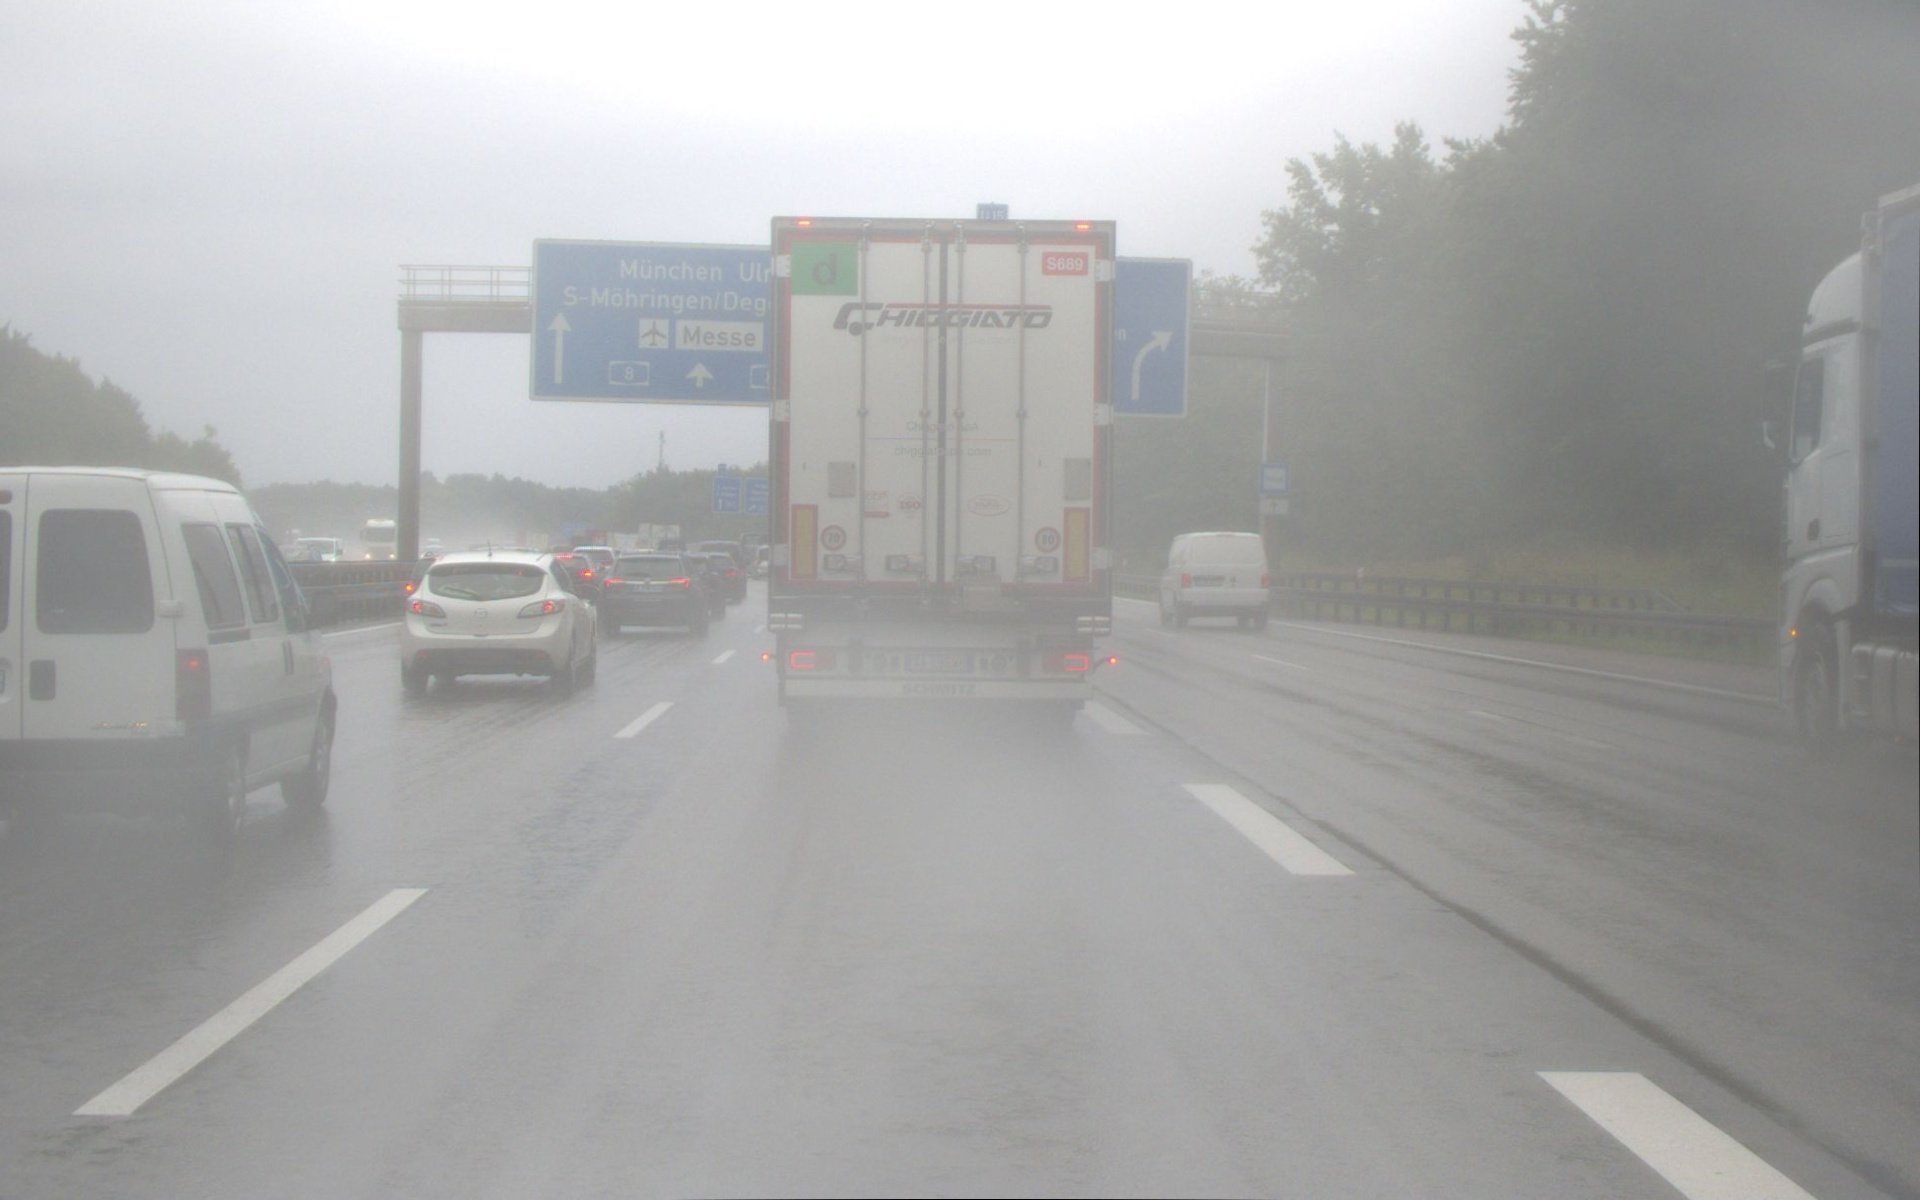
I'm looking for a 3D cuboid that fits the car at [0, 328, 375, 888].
[{"bbox_3d":[-4.592,-0.029,18.323,2.212,2.564,5.016,1,1,-2],"label":"car"}]

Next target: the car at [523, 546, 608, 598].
[{"bbox_3d":[-10.691,-0.777,93.493,1.845,1.326,4.467,1,1,-1],"label":"car"}]

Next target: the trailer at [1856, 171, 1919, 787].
[{"bbox_3d":[7.646,-0.684,16.833,2.553,4.000,13.716,1,1,-1],"label":"trailer"}]

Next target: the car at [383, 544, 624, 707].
[{"bbox_3d":[-4.811,0.220,36.761,1.846,1.586,4.072,1,1,3],"label":"car"}]

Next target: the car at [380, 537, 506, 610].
[{"bbox_3d":[-10.007,-0.533,66.816,1.845,1.326,4.467,1,1,-1],"label":"car"}]

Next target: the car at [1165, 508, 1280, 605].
[{"bbox_3d":[5.395,-0.939,71.237,1.990,1.914,4.767,1,1,0],"label":"car"}]

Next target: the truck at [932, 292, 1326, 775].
[{"bbox_3d":[1.418,-0.563,31.201,2.872,3.550,11.302,1,1,2],"label":"truck"}]

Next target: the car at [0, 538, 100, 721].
[{"bbox_3d":[-9.410,0.235,31.640,1.845,1.586,4.467,1,1,0],"label":"car"}]

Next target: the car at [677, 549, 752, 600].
[{"bbox_3d":[-6.890,-0.726,96.712,1.845,1.326,4.467,1,1,-1],"label":"car"}]

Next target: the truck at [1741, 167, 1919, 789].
[{"bbox_3d":[7.432,-0.796,23.524,2.601,4.000,6.013,1,1,-1],"label":"truck"}]

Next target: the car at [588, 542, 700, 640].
[{"bbox_3d":[-5.534,-0.188,60.095,1.845,1.586,4.467,1,1,-6],"label":"car"}]
